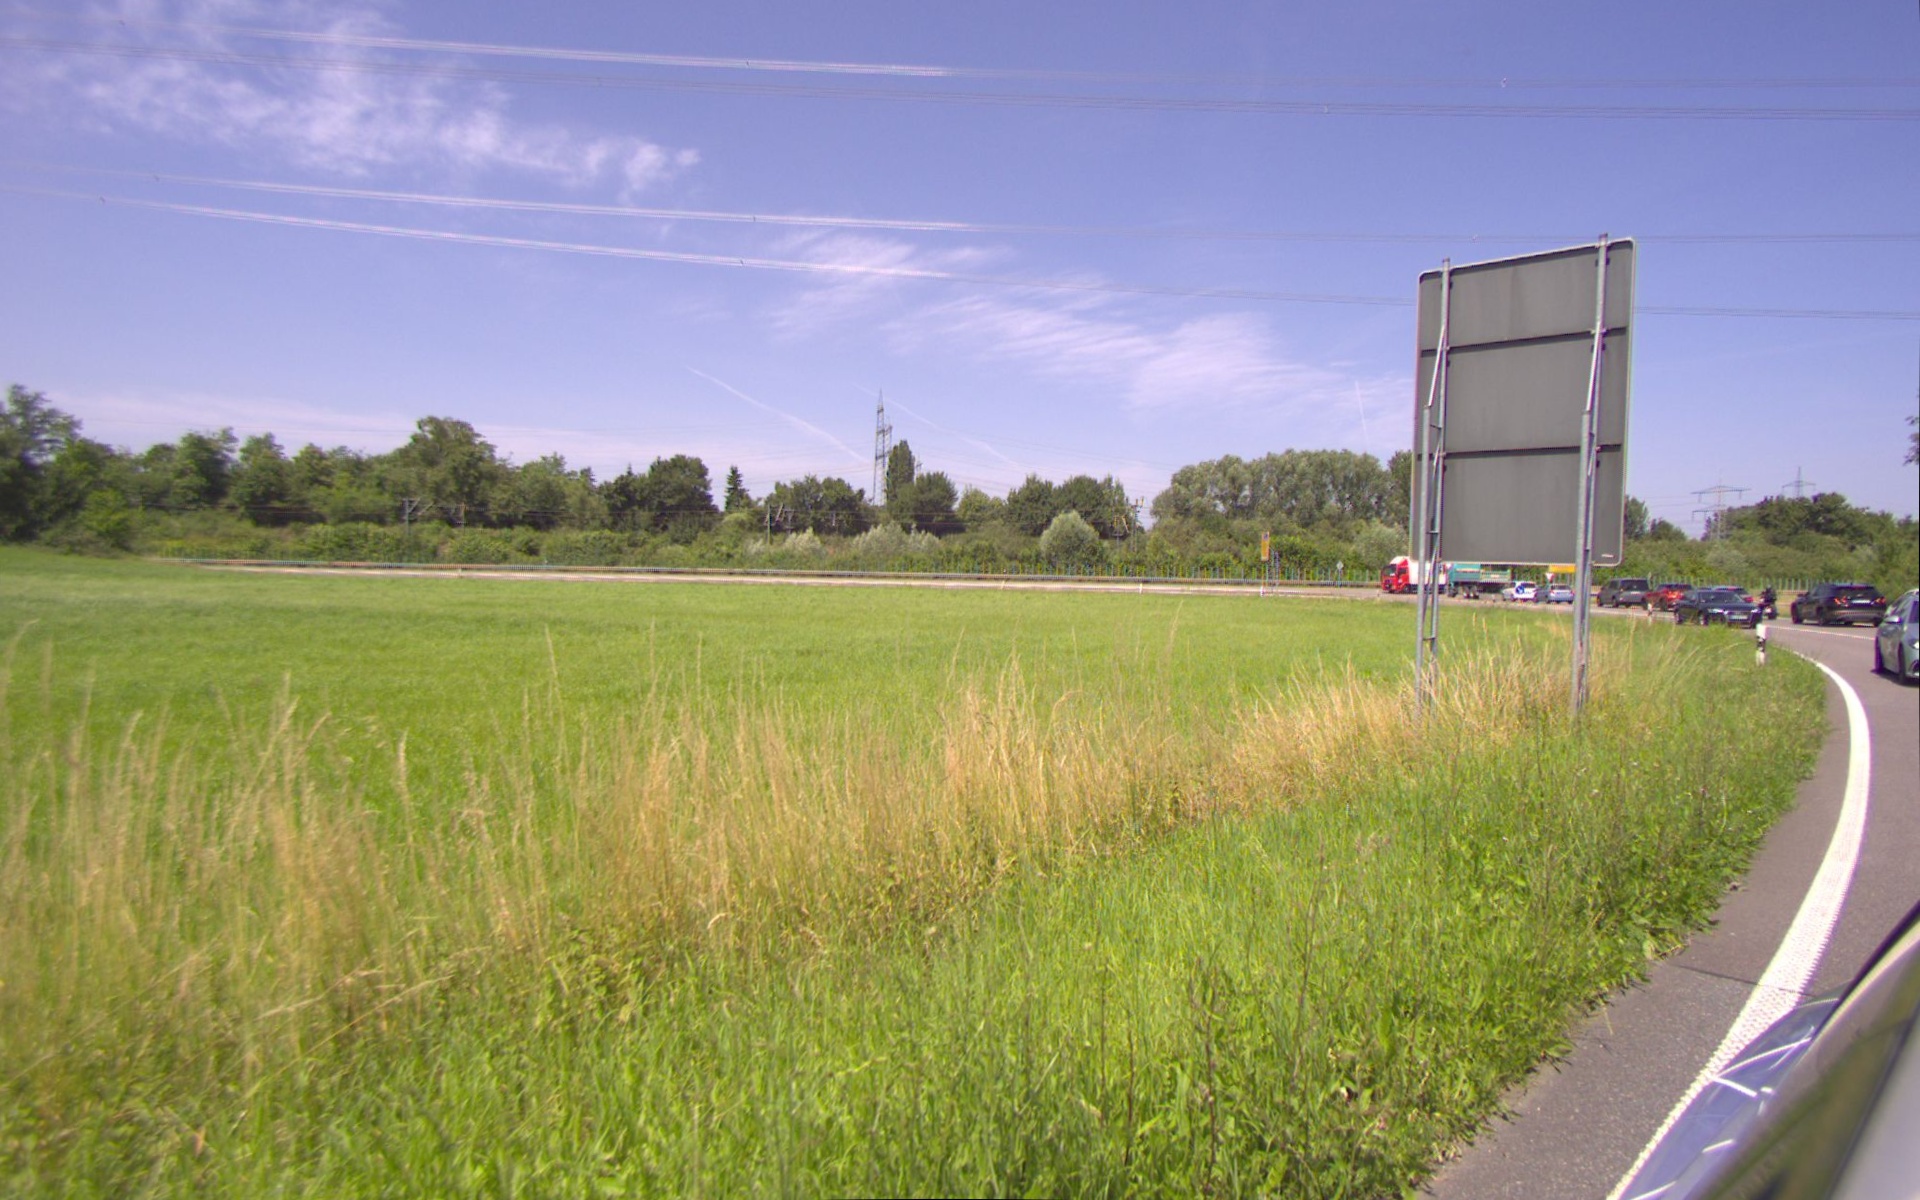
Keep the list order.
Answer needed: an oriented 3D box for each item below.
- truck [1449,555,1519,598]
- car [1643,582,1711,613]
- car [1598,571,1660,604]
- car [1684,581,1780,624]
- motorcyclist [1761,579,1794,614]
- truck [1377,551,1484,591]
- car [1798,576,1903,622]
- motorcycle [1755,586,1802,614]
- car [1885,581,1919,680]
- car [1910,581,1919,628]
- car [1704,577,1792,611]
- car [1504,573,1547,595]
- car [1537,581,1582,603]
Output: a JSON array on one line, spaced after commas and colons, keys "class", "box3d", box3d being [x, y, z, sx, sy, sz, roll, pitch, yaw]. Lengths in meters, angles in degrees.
[{"class": "truck", "box3d": [44.884, -2.043, 86.910, 2.565, 3.514, 7.600, 1, 2, 6]}, {"class": "car", "box3d": [39.352, -0.179, 55.651, 1.781, 1.534, 4.368, 2, 3, 18]}, {"class": "car", "box3d": [41.175, -0.796, 62.401, 1.905, 1.854, 4.418, 1, 2, 16]}, {"class": "car", "box3d": [29.077, 0.046, 38.271, 1.805, 1.457, 4.118, 2, 2, 22]}, {"class": "motorcyclist", "box3d": [36.263, -0.185, 44.913, 0.773, 1.513, 1.124, 1, 2, 18]}, {"class": "truck", "box3d": [45.552, -2.848, 98.073, 9.361, 3.623, 2.730, -1, 2, -7]}, {"class": "car", "box3d": [33.456, -0.074, 38.142, 1.688, 1.658, 4.217, -1, 1, 23]}, {"class": "motorcycle", "box3d": [36.251, -0.005, 44.866, 0.773, 1.137, 2.417, -1, 2, 18]}, {"class": "car", "box3d": [16.565, 0.441, 16.479, 1.815, 1.505, 4.094, 0, 1, 37]}, {"class": "car", "box3d": [30.723, 0.161, 31.068, 1.529, 1.461, 3.568, -1, 1, 31]}, {"class": "car", "box3d": [38.282, -0.342, 49.322, 1.823, 1.478, 4.783, 0, 2, 18]}, {"class": "car", "box3d": [44.192, -1.262, 79.157, 1.751, 1.641, 4.314, 0, 1, 13]}, {"class": "car", "box3d": [43.184, -0.591, 72.993, 1.613, 1.477, 3.993, 1, 1, 13]}]
